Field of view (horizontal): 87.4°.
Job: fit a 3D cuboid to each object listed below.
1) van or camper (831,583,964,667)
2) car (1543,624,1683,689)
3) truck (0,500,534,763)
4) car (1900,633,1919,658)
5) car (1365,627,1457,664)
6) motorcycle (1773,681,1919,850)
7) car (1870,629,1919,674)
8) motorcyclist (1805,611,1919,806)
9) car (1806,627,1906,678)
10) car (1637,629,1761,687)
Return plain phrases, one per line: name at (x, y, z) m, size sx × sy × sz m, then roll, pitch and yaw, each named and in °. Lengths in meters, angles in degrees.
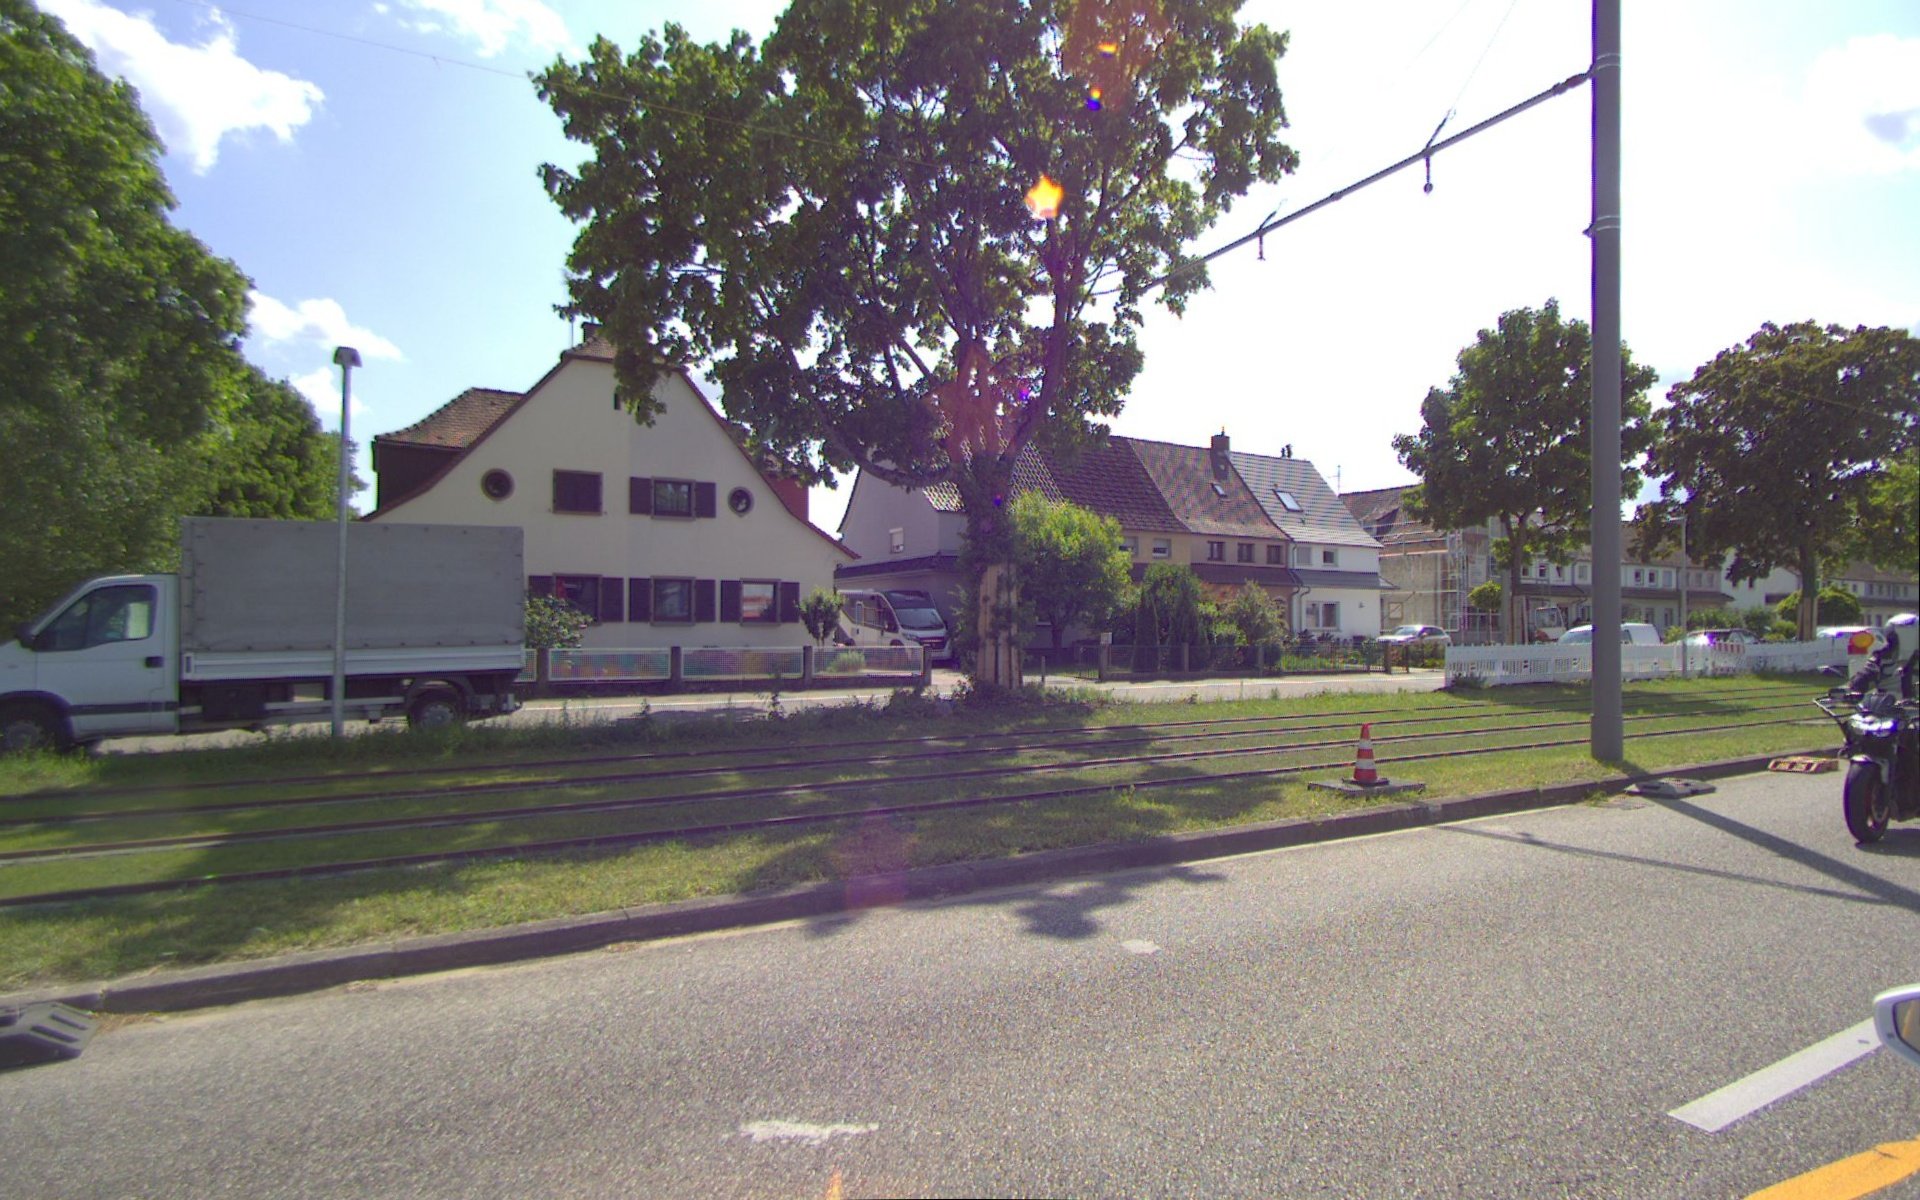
van or camper at (-2.404, 0.935, 36.631) m, size 2.269 × 2.801 × 6.051 m, roll 1°, pitch -2°, yaw -32°
car at (19.556, 1.643, 30.051) m, size 4.312 × 1.845 × 1.768 m, roll 1°, pitch -2°, yaw -30°
truck at (-8.834, 0.401, 12.969) m, size 5.906 × 2.817 × 2.255 m, roll 1°, pitch -2°, yaw -31°
car at (70.032, 3.302, 72.745) m, size 4.079 × 1.745 × 1.768 m, roll 1°, pitch -2°, yaw -30°
car at (19.990, 1.988, 44.494) m, size 3.952 × 1.539 × 1.768 m, roll 1°, pitch -2°, yaw -30°
motorcycle at (7.158, 1.179, 7.642) m, size 2.220 × 1.034 × 0.863 m, roll 1°, pitch -2°, yaw -33°
car at (40.646, 2.163, 42.695) m, size 4.079 × 1.829 × 1.768 m, roll 1°, pitch -2°, yaw -30°
motorcyclist at (7.115, 0.792, 7.624) m, size 0.792 × 1.396 × 0.863 m, roll 1°, pitch -2°, yaw -32°
car at (35.363, 2.029, 39.638) m, size 4.079 × 1.892 × 1.768 m, roll 1°, pitch -2°, yaw -30°
car at (24.291, 1.852, 32.999) m, size 4.177 × 1.797 × 1.768 m, roll 1°, pitch -2°, yaw -30°
